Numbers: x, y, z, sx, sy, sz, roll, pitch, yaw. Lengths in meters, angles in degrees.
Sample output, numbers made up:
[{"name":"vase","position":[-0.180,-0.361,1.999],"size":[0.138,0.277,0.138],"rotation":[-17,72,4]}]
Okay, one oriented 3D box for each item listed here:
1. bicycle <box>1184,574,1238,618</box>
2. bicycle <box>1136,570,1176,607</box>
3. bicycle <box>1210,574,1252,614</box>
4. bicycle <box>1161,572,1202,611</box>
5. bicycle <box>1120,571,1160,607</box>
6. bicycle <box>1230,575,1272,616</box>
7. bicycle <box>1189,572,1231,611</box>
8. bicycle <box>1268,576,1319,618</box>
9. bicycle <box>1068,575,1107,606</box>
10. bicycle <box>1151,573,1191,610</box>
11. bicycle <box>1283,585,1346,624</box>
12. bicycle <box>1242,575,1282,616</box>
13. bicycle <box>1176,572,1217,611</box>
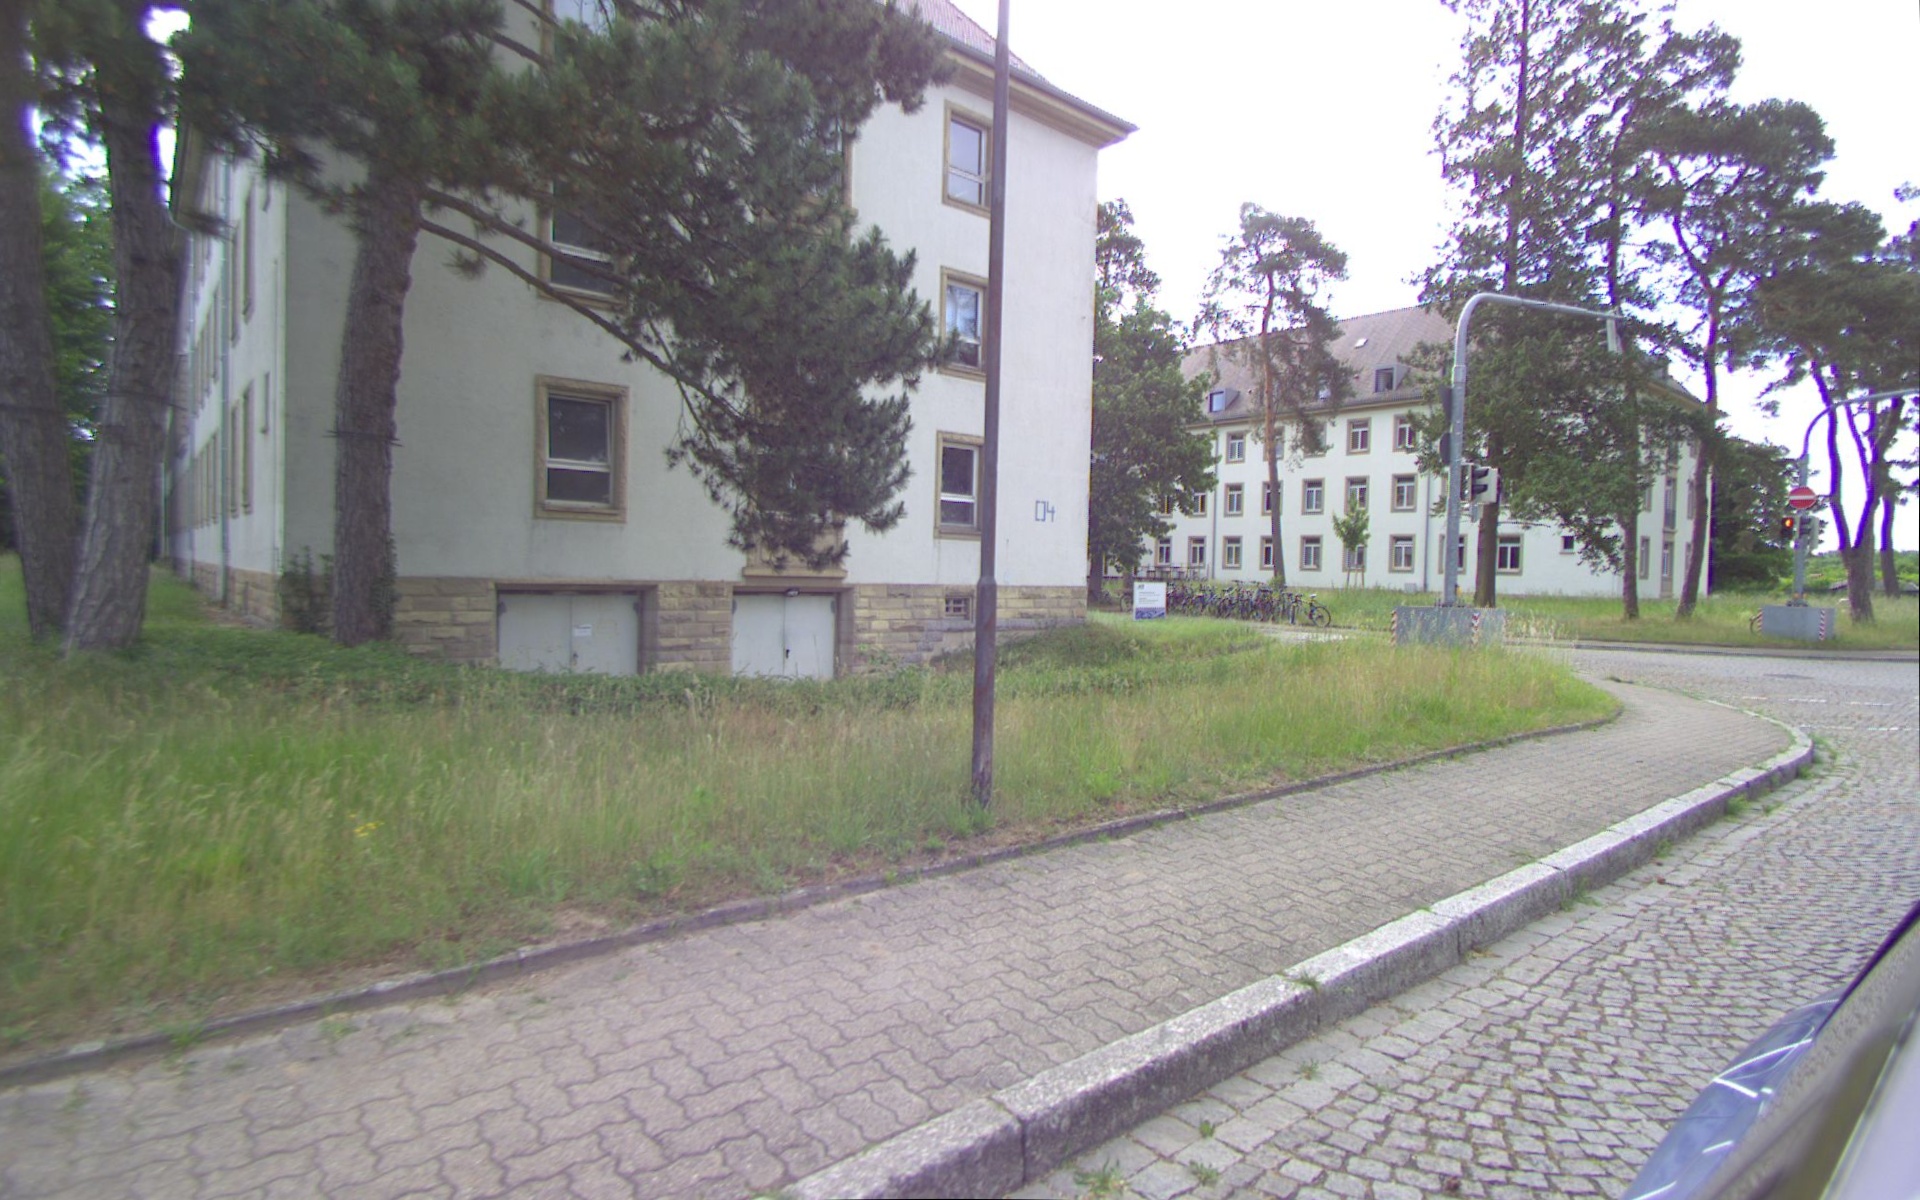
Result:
[{"name":"bicycle","position":[8.020,-0.121,32.285],"size":[1.802,1.348,0.573],"rotation":[0,2,-33]},{"name":"bicycle","position":[7.331,-0.418,37.827],"size":[0.571,1.348,1.808],"rotation":[2,2,44]},{"name":"bicycle","position":[9.458,-0.215,35.249],"size":[0.571,1.348,1.808],"rotation":[2,2,44]},{"name":"bicycle","position":[8.063,-0.313,36.870],"size":[0.571,1.348,1.808],"rotation":[2,2,44]},{"name":"bicycle","position":[6.823,-0.422,38.327],"size":[0.571,1.348,1.808],"rotation":[2,2,44]},{"name":"bicycle","position":[9.995,-0.163,34.704],"size":[0.571,1.348,1.808],"rotation":[2,2,44]},{"name":"bicycle","position":[8.871,-0.294,35.867],"size":[0.571,1.348,1.808],"rotation":[2,2,44]},{"name":"bicycle","position":[11.061,-0.096,33.569],"size":[1.802,1.348,0.573],"rotation":[0,2,-33]},{"name":"bicycle","position":[5.185,-0.399,41.057],"size":[0.571,1.201,1.809],"rotation":[2,2,43]},{"name":"bicycle","position":[7.822,-0.324,37.468],"size":[0.571,1.348,1.808],"rotation":[2,2,44]},{"name":"bicycle","position":[10.909,0.127,31.195],"size":[0.562,1.098,1.838],"rotation":[-2,3,-36]},{"name":"bicycle","position":[10.264,-0.157,34.364],"size":[0.481,1.348,1.808],"rotation":[2,2,44]},{"name":"bicycle","position":[8.489,-0.302,36.283],"size":[0.571,1.348,1.808],"rotation":[2,2,44]}]
